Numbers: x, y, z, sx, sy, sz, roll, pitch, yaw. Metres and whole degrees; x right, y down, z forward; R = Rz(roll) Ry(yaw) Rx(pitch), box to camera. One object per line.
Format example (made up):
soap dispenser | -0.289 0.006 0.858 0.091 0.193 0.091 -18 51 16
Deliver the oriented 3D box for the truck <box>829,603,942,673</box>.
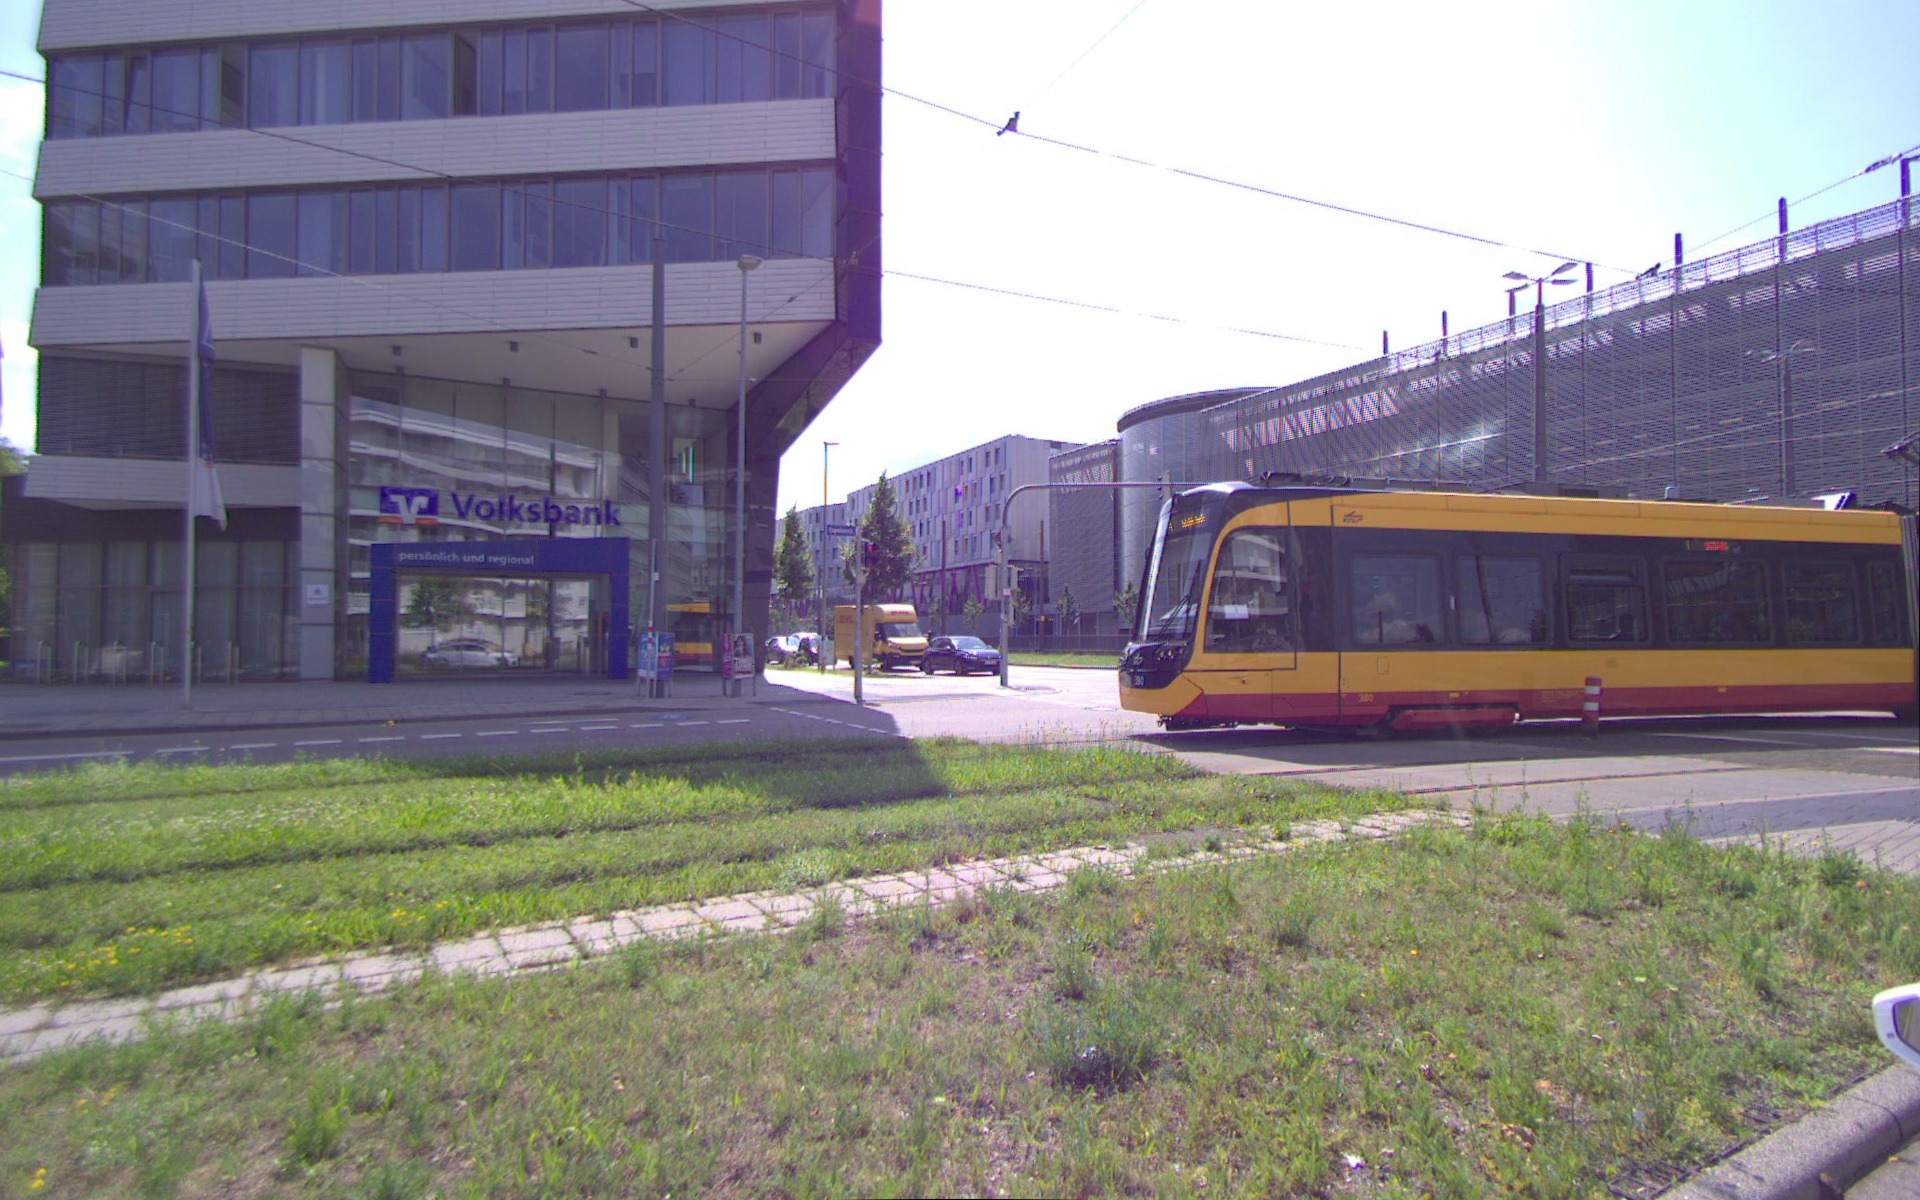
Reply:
truck | -3.449 1.671 44.618 2.416 2.866 6.820 1 -2 -28

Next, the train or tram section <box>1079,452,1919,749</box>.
train or tram section | 8.629 0.081 15.515 13.271 3.647 3.218 0 -1 -14

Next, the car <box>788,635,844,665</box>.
car | -7.613 2.610 52.993 1.804 1.488 3.760 1 -2 -27

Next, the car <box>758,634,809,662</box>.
car | -10.032 2.695 56.961 1.804 1.488 3.760 1 -2 -27

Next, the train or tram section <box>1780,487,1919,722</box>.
train or tram section | 20.397 0.095 16.462 10.769 3.651 3.067 0 -1 7

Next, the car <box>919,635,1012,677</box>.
car | 0.141 2.064 37.742 1.804 1.488 4.084 1 -2 -27
